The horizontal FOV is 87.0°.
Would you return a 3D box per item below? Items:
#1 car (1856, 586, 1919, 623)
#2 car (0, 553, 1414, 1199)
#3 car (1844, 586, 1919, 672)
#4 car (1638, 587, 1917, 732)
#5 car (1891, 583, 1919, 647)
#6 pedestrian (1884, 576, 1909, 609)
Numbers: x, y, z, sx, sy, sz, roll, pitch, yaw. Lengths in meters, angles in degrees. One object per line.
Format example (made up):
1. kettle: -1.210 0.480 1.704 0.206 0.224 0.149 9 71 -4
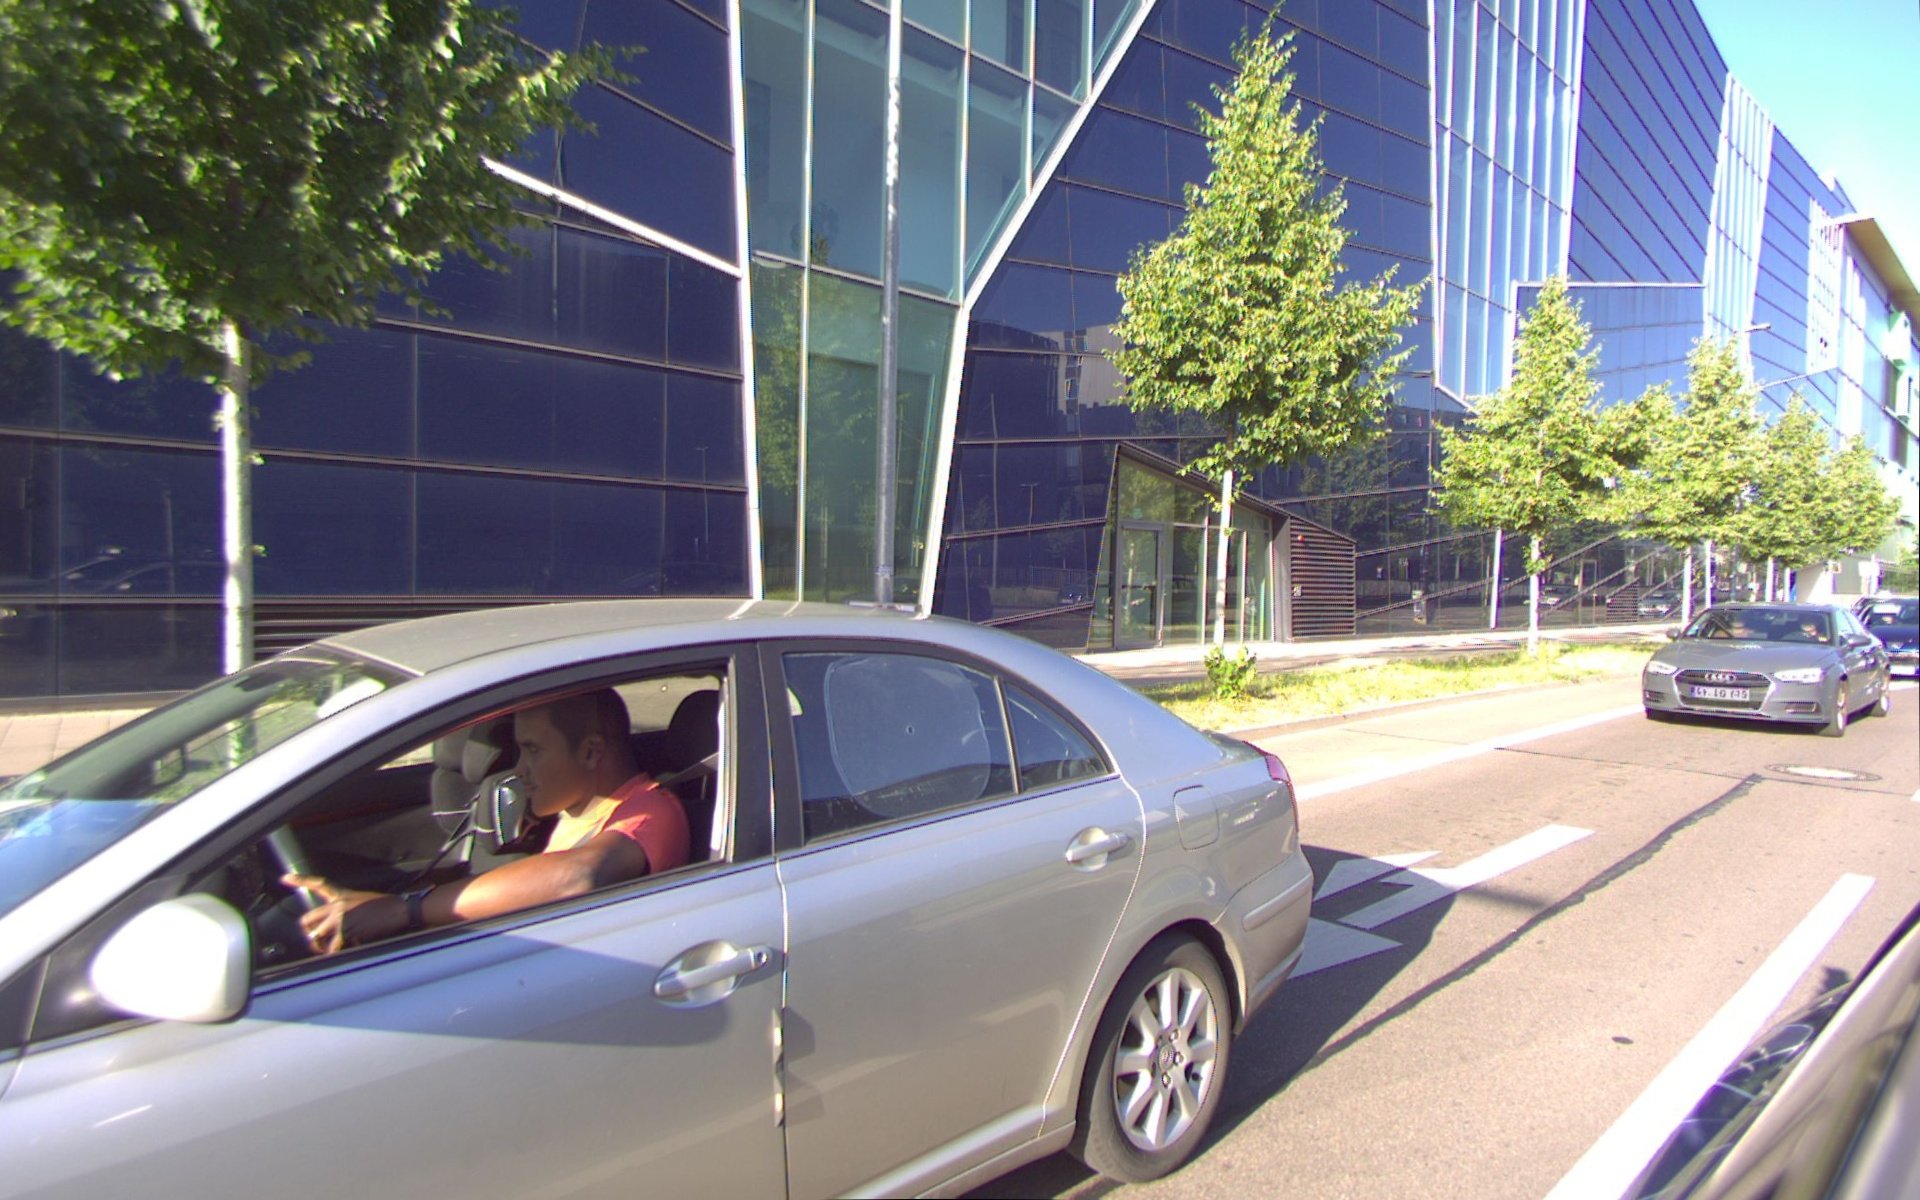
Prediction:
1. car: 42.334 0.168 46.027 4.633 1.516 1.739 0 4 -41
2. car: -0.790 0.654 2.516 4.548 1.499 1.749 -1 2 -41
3. car: 18.067 0.495 18.970 3.902 1.497 1.752 0 1 -41
4. car: 9.836 0.568 12.069 4.187 1.409 1.750 -1 1 -39
5. car: 23.895 0.346 24.418 3.358 1.497 1.752 0 1 -41
6. pedestrian: 54.583 -0.458 58.965 0.889 1.846 0.829 0 5 -41
